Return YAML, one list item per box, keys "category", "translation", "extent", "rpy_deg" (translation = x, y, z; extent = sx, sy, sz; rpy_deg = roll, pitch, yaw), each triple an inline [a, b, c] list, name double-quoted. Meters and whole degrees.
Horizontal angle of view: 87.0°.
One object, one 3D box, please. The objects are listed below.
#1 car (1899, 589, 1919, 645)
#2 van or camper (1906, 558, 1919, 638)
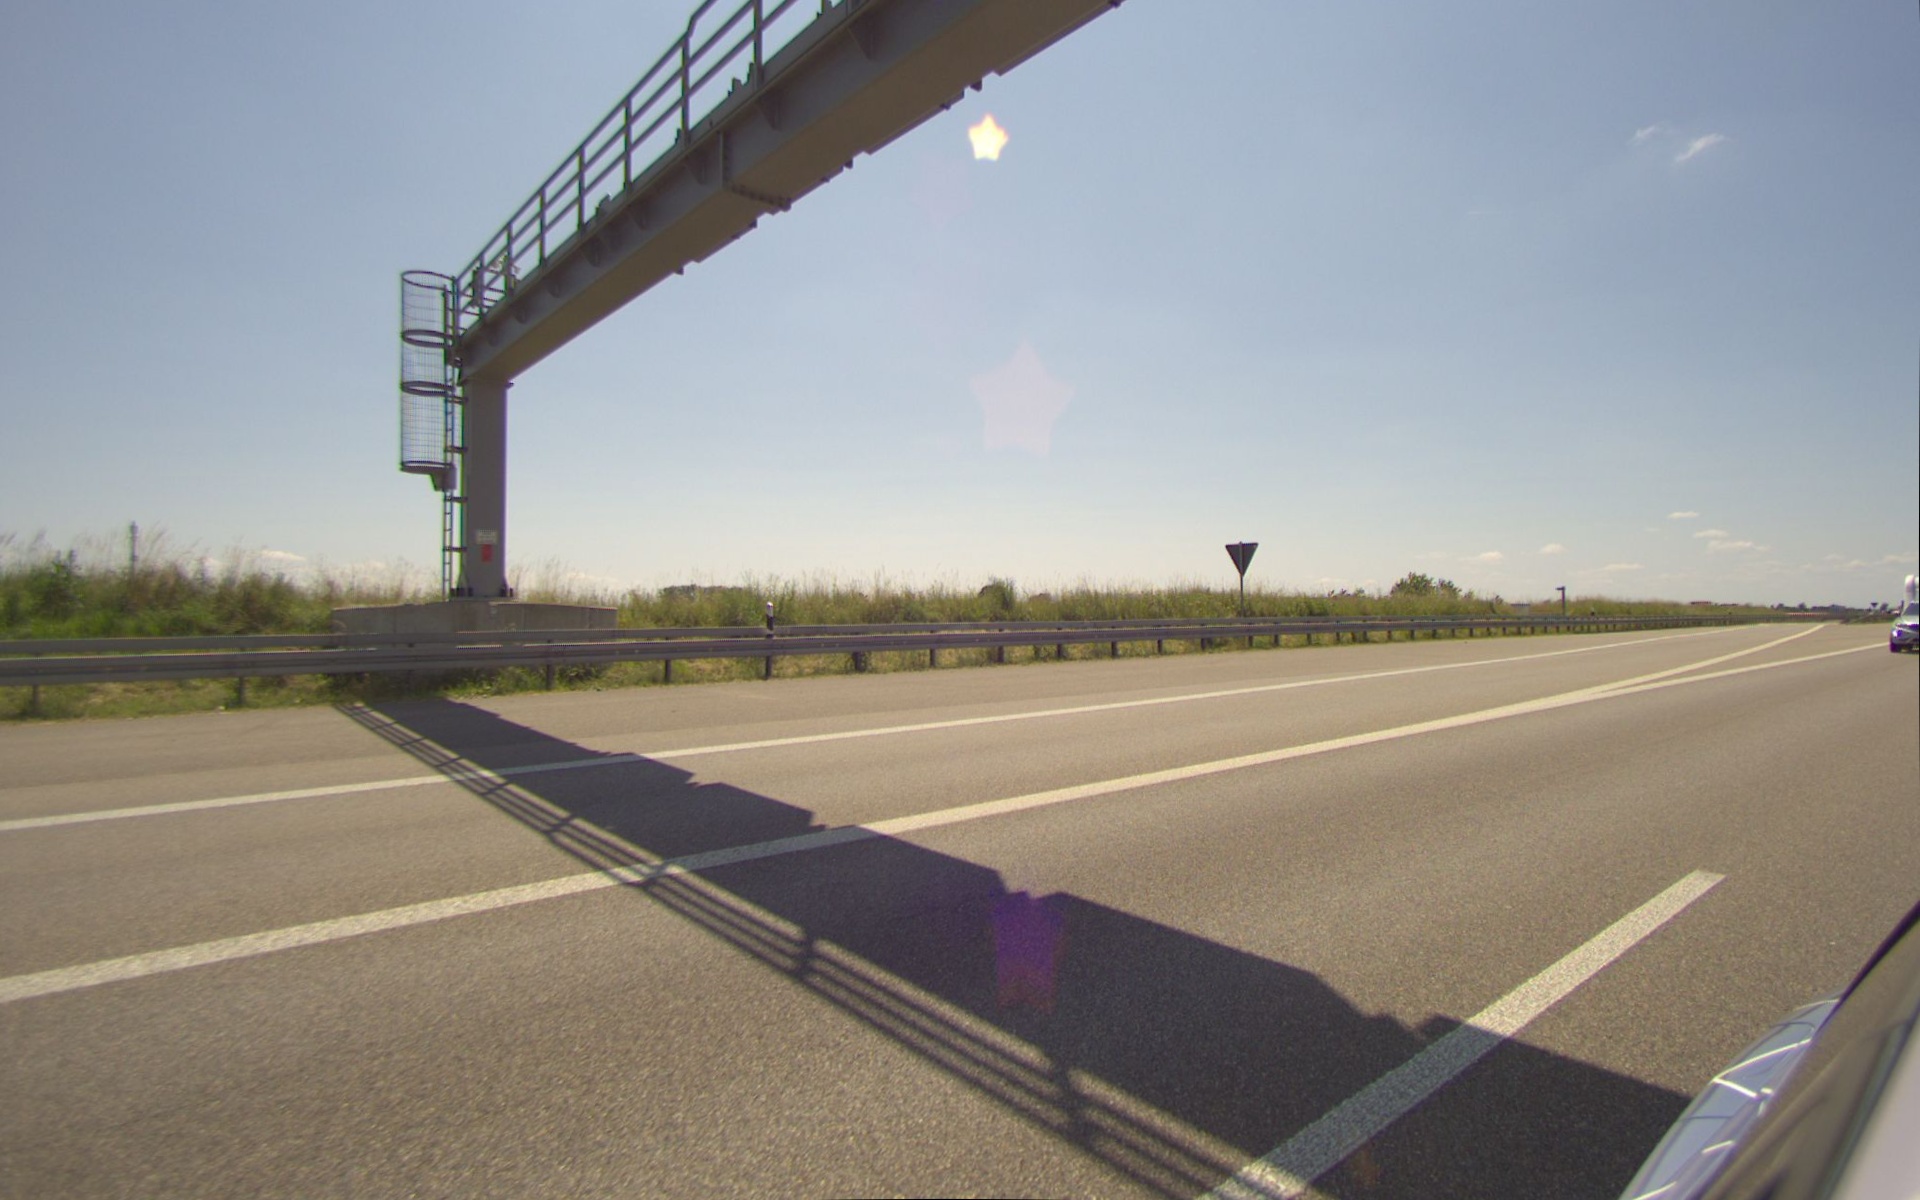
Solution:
- category: "car"
  translation: [30.270, 0.494, 30.863]
  extent: [4.818, 1.643, 1.884]
  rpy_deg: [0, 0, -41]
- category: "van or camper"
  translation: [34.911, 0.009, 34.961]
  extent: [7.679, 2.626, 2.516]
  rpy_deg: [2, -1, -41]
